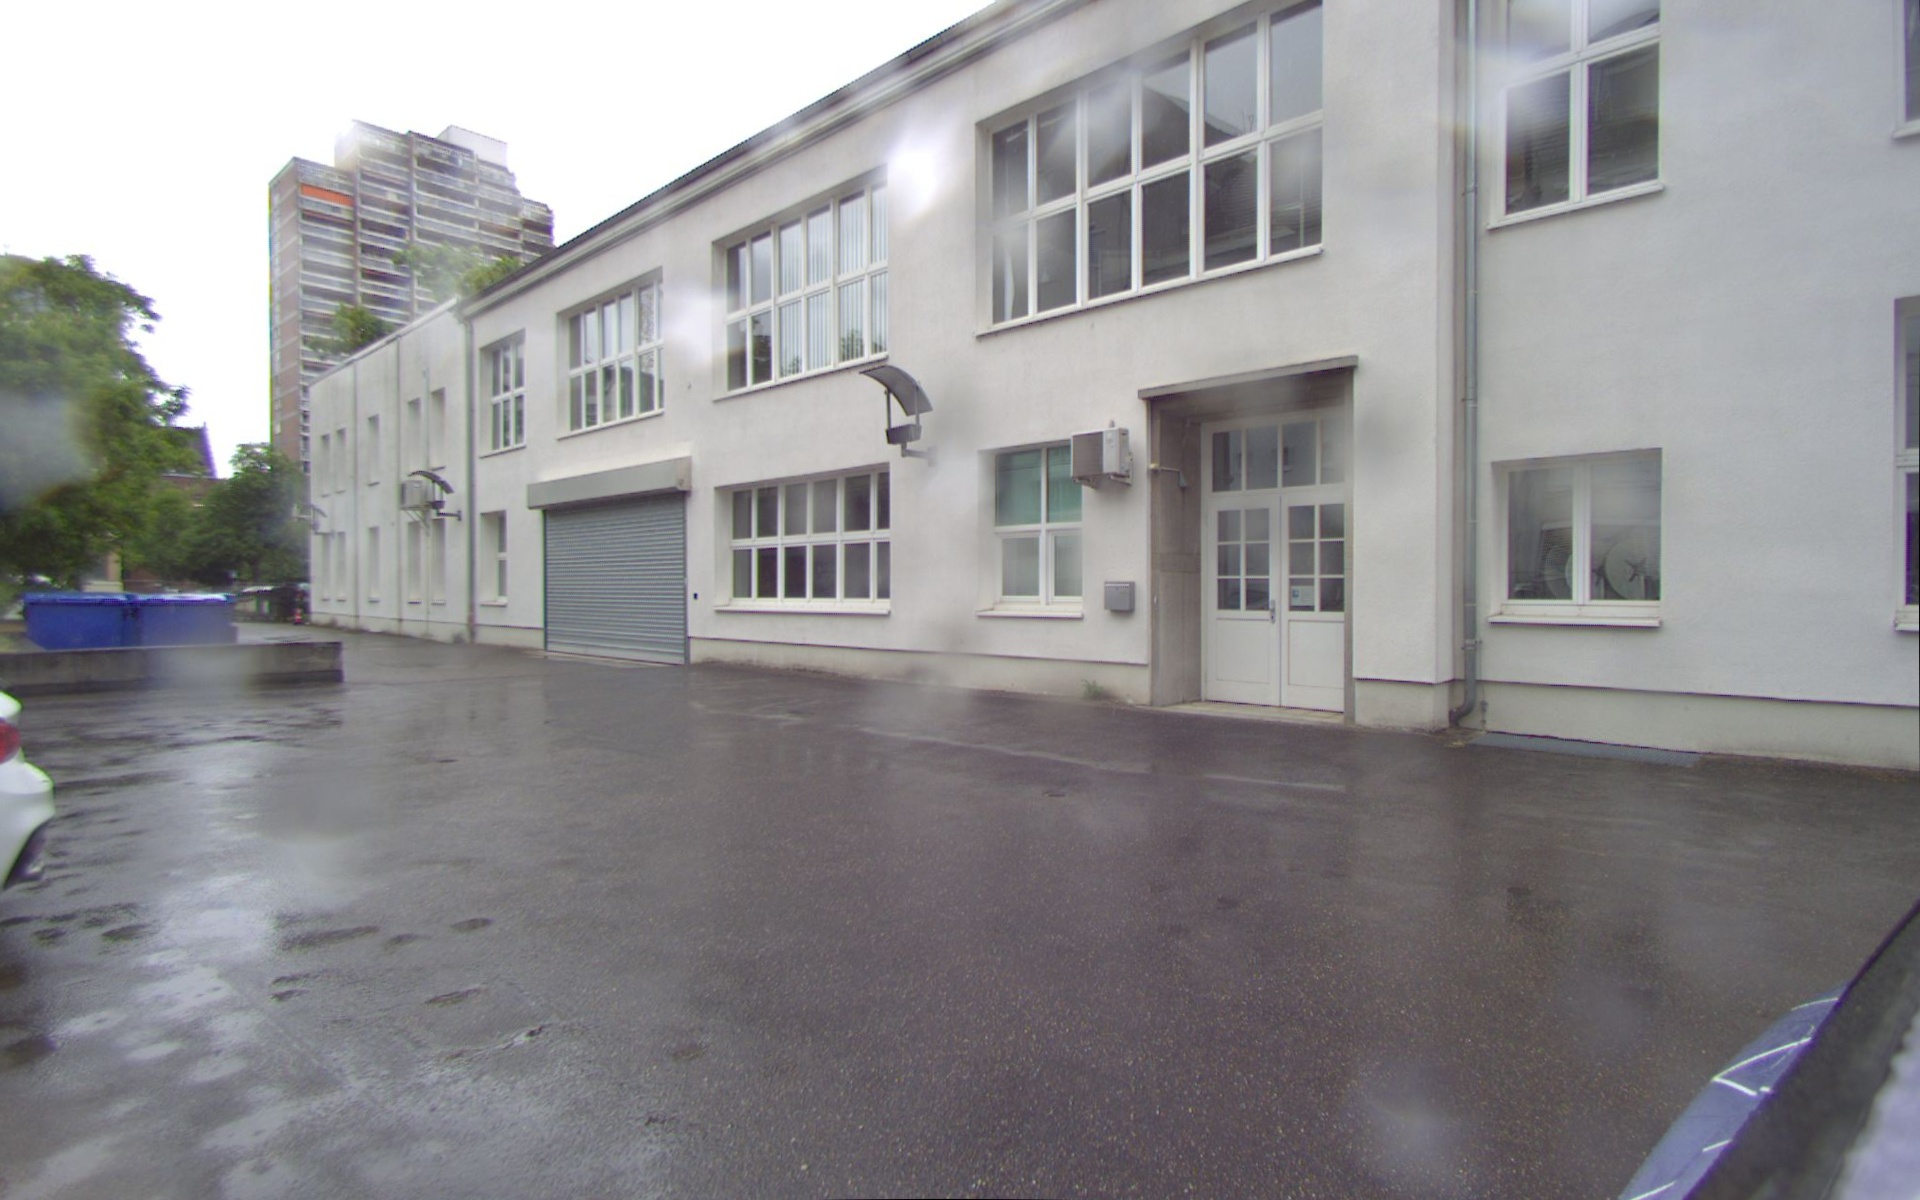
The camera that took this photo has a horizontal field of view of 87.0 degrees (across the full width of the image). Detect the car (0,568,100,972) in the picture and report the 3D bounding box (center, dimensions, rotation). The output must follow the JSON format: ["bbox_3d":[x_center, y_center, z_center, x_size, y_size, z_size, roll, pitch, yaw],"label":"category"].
[{"bbox_3d":[-5.488,0.667,3.053,1.991,1.508,4.160,-1,1,40],"label":"car"}]

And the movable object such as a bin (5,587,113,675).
[{"bbox_3d":[-15.496,0.515,17.395,1.964,1.375,1.214,-2,0,44],"label":"movable object such as a bin"}]

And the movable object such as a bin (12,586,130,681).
[{"bbox_3d":[-14.073,0.511,15.999,1.964,1.375,1.214,-2,0,44],"label":"movable object such as a bin"}]

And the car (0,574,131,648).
[{"bbox_3d":[-25.938,0.333,27.868,4.622,1.905,2.117,-3,-1,-44],"label":"car"}]

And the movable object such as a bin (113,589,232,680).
[{"bbox_3d":[-13.181,0.556,16.923,1.898,1.375,1.293,-2,0,44],"label":"movable object such as a bin"}]

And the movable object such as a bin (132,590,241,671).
[{"bbox_3d":[-14.233,0.545,18.615,1.898,1.375,1.293,-2,0,44],"label":"movable object such as a bin"}]

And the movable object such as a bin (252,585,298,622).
[{"bbox_3d":[-27.044,0.147,39.955,1.307,1.391,1.172,-2,0,39],"label":"movable object such as a bin"}]

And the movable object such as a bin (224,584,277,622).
[{"bbox_3d":[-29.321,0.129,41.811,1.307,1.466,1.472,-2,0,39],"label":"movable object such as a bin"}]

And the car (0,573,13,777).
[{"bbox_3d":[-9.135,0.590,6.582,1.991,1.508,4.160,-1,1,40],"label":"car"}]

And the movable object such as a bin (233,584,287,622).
[{"bbox_3d":[-28.299,0.122,40.938,1.307,1.466,1.472,-2,0,39],"label":"movable object such as a bin"}]
